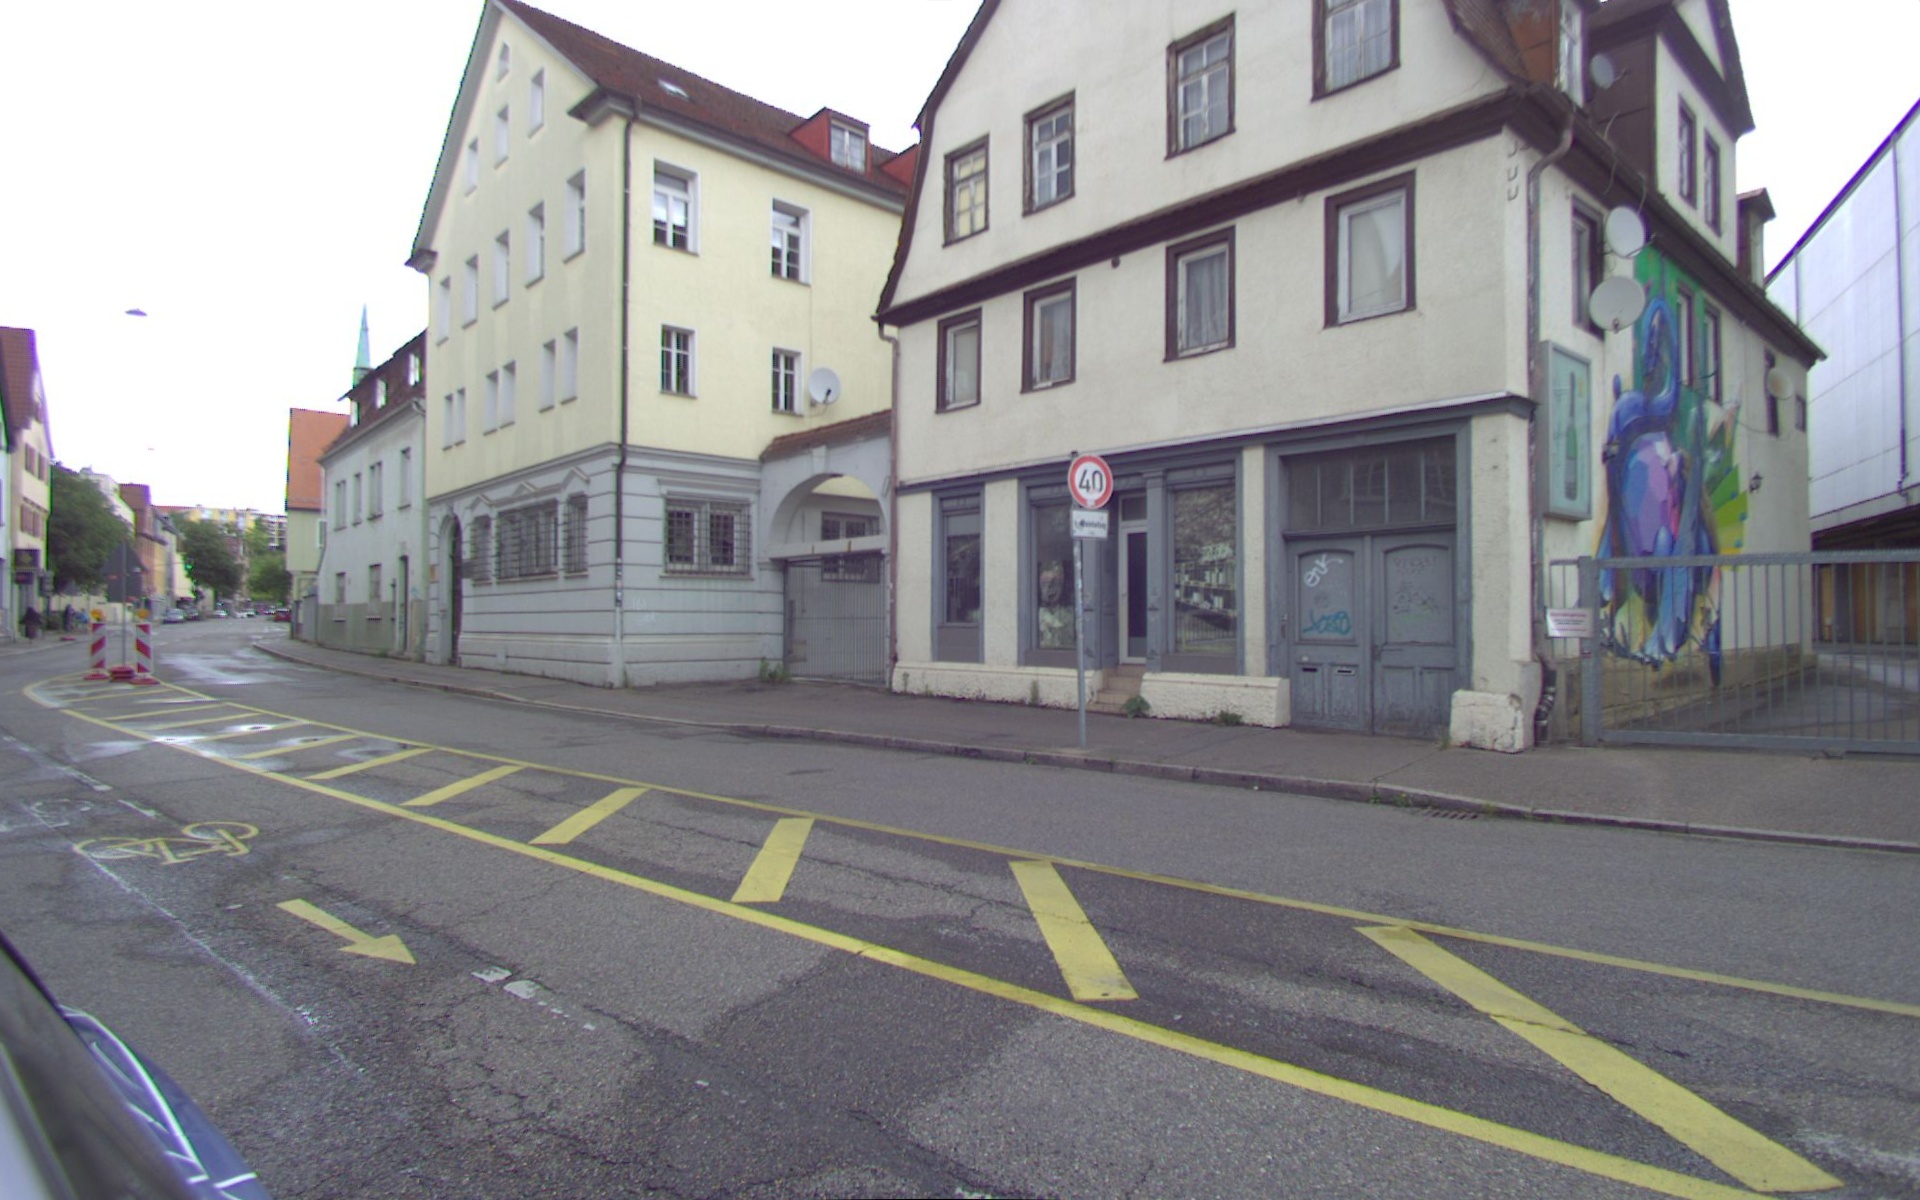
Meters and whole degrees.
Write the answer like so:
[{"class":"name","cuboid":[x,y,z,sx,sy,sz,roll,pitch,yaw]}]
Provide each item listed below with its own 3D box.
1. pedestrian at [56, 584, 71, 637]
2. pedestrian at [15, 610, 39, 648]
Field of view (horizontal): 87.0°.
[{"class":"pedestrian","cuboid":[-43.775,0.506,49.432,0.487,2.547,0.747,1,-2,-38]},{"class":"pedestrian","cuboid":[-40.847,1.271,44.309,0.714,1.626,0.649,1,-2,-39]}]
